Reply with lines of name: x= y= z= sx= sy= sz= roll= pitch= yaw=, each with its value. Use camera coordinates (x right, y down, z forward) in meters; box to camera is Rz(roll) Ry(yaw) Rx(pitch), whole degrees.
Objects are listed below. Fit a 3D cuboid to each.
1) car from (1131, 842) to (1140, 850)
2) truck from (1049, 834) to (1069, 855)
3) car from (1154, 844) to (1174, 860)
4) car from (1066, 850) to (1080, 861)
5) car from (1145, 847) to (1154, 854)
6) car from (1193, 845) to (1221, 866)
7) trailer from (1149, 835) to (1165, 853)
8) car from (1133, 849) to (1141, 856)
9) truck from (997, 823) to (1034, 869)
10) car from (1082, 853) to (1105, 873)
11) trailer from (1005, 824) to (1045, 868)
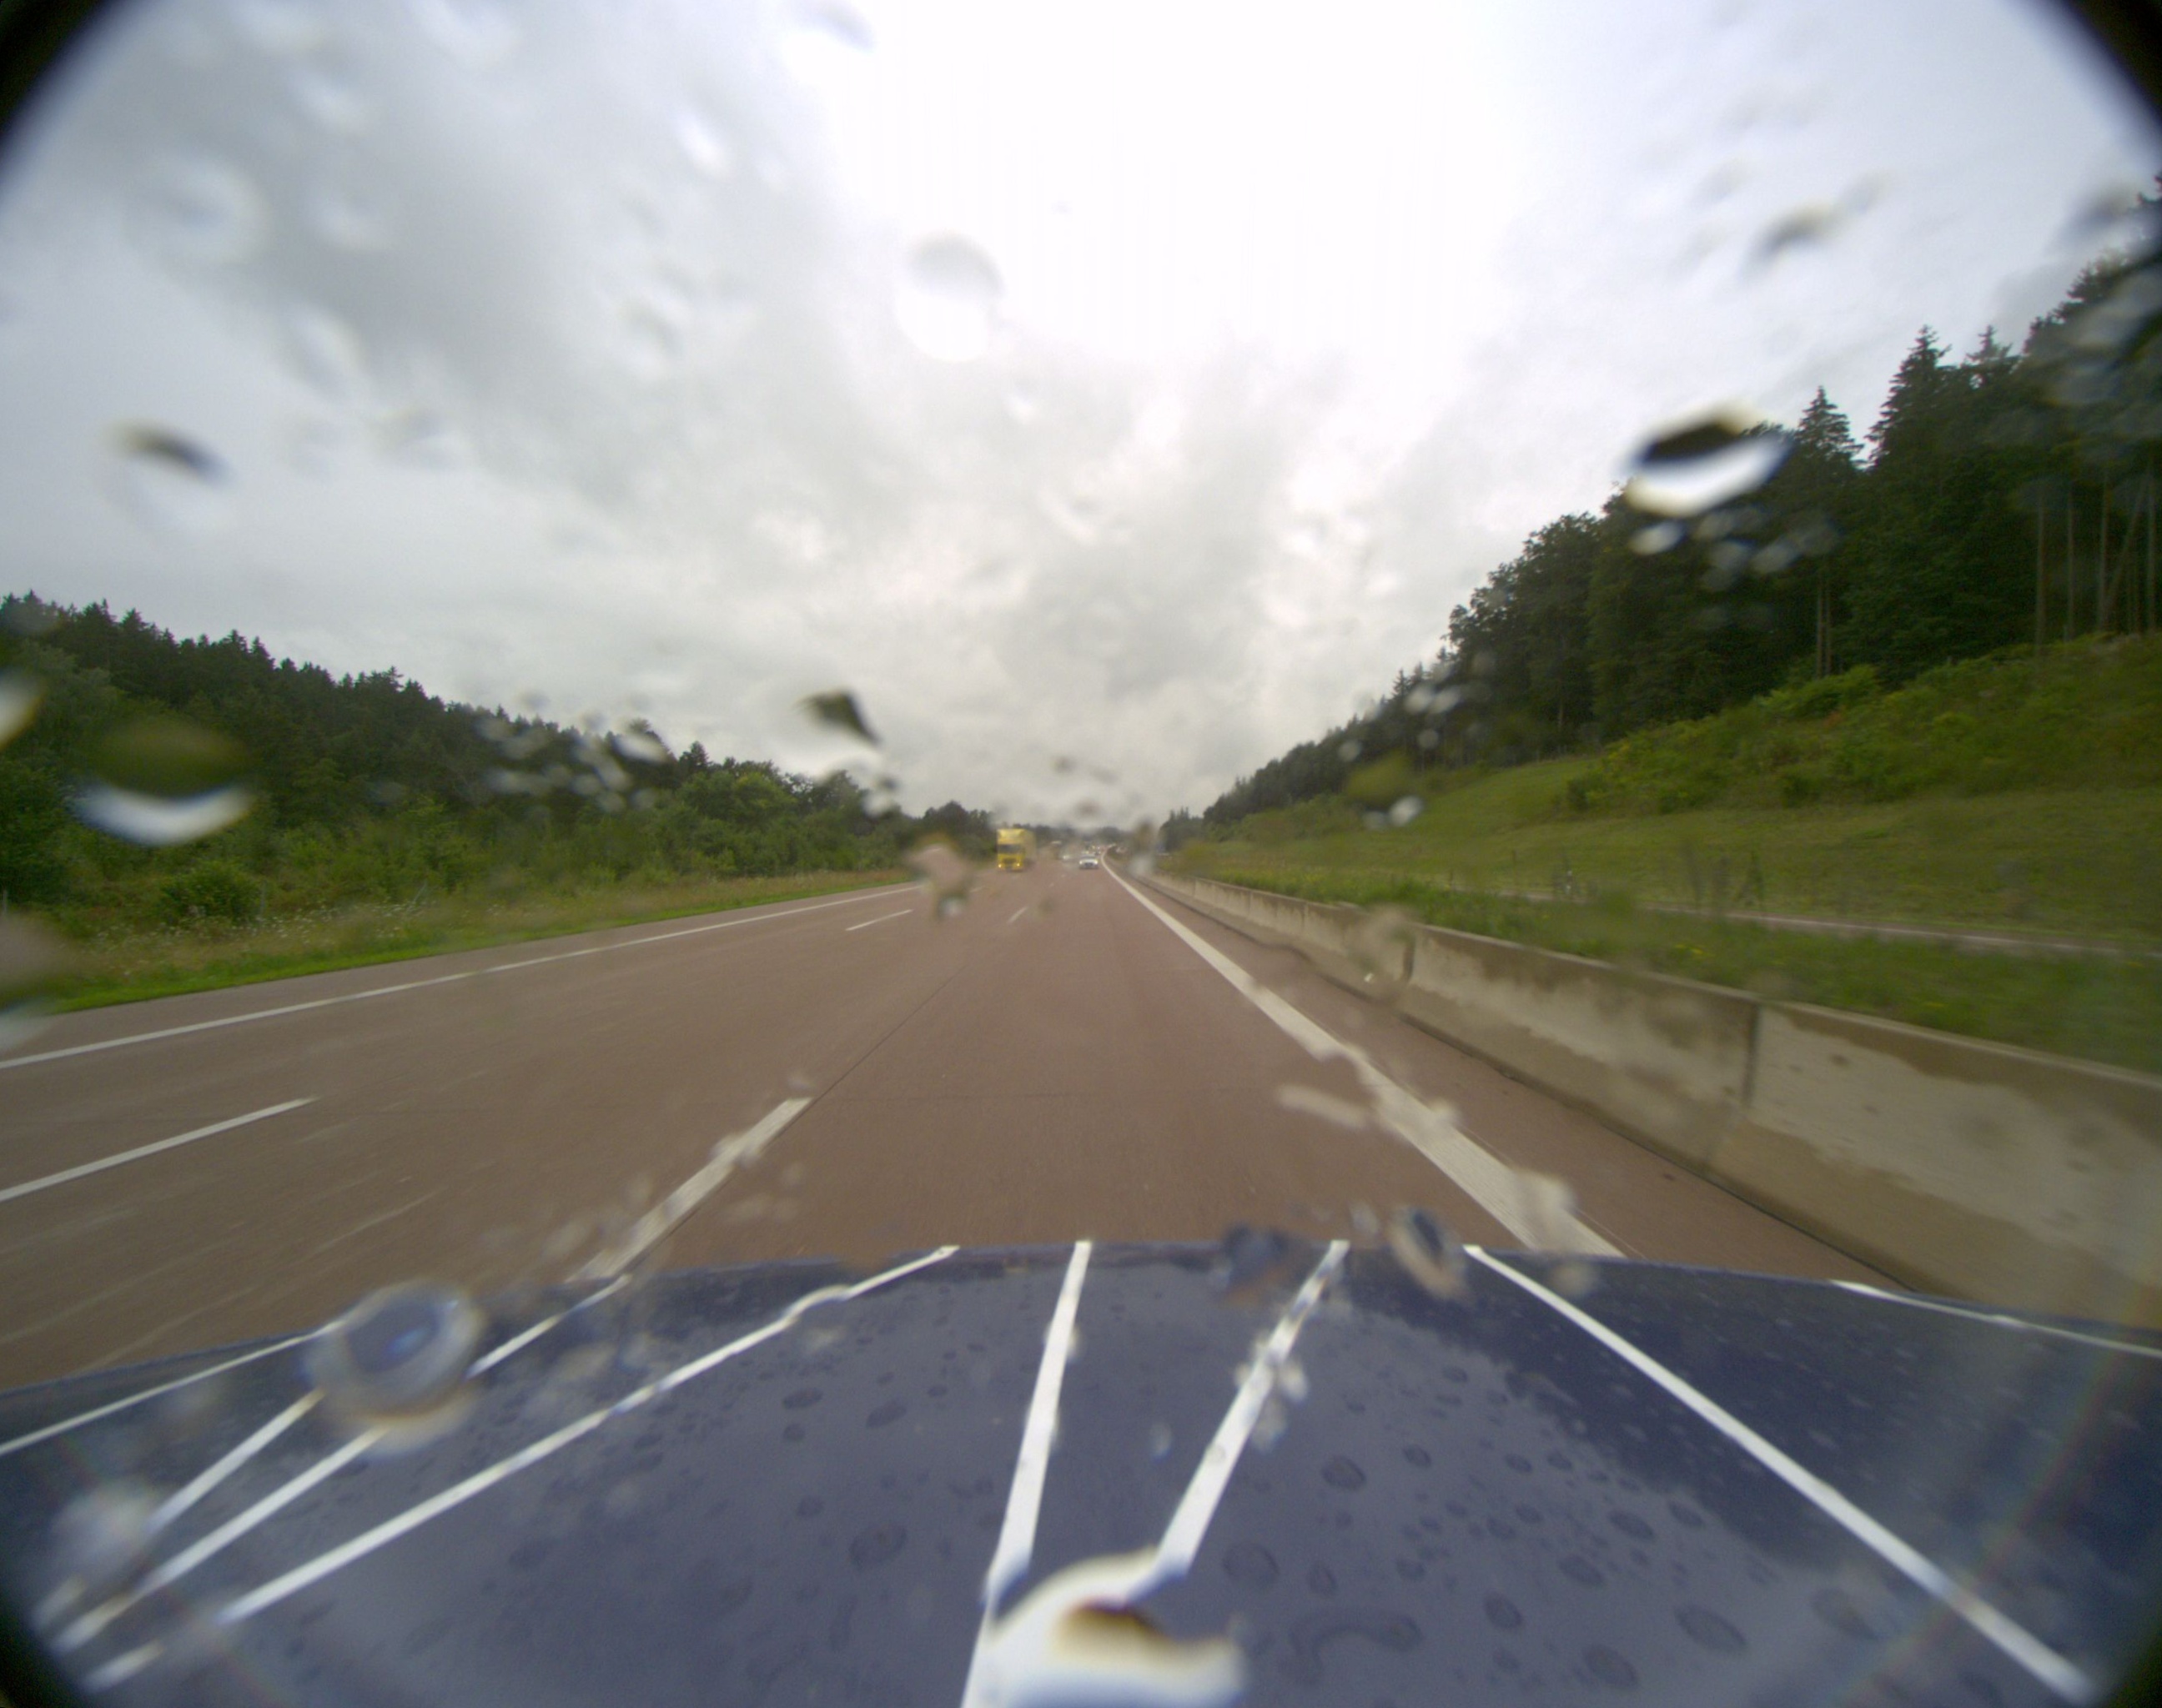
car: x=13.363 y=-1.992 z=185.729 sx=1.895 sy=1.769 sz=4.938 roll=-2 pitch=1 yaw=3
truck: x=-4.848 y=-2.119 z=168.215 sx=3.190 sy=4.349 sz=14.702 roll=-2 pitch=1 yaw=2
car: x=9.291 y=-0.269 z=85.406 sx=1.847 sy=1.594 sz=3.845 roll=-2 pitch=1 yaw=1
car: x=-1.345 y=0.300 z=126.496 sx=1.998 sy=1.623 sz=4.931 roll=-2 pitch=1 yaw=2
car: x=16.020 y=-0.937 z=178.630 sx=1.730 sy=1.520 sz=4.116 roll=-2 pitch=1 yaw=1
car: x=12.891 y=0.101 z=78.192 sx=2.043 sy=2.046 sz=5.069 roll=0 pitch=1 yaw=1
trailer: x=19.920 y=-2.770 z=199.590 sx=2.926 sy=4.315 sz=13.577 roll=-4 pitch=1 yaw=2
car: x=15.667 y=-0.487 z=212.234 sx=1.998 sy=1.757 sz=5.095 roll=-1 pitch=0 yaw=2
truck: x=-6.227 y=-0.807 z=72.889 sx=2.610 sy=4.190 sz=6.249 roll=-2 pitch=1 yaw=2
car: x=1.185 y=0.855 z=72.245 sx=1.998 sy=1.623 sz=4.931 roll=-2 pitch=1 yaw=2
trailer: x=-5.869 y=-0.972 z=81.723 sx=2.571 sy=4.204 sz=14.078 roll=-2 pitch=1 yaw=2
